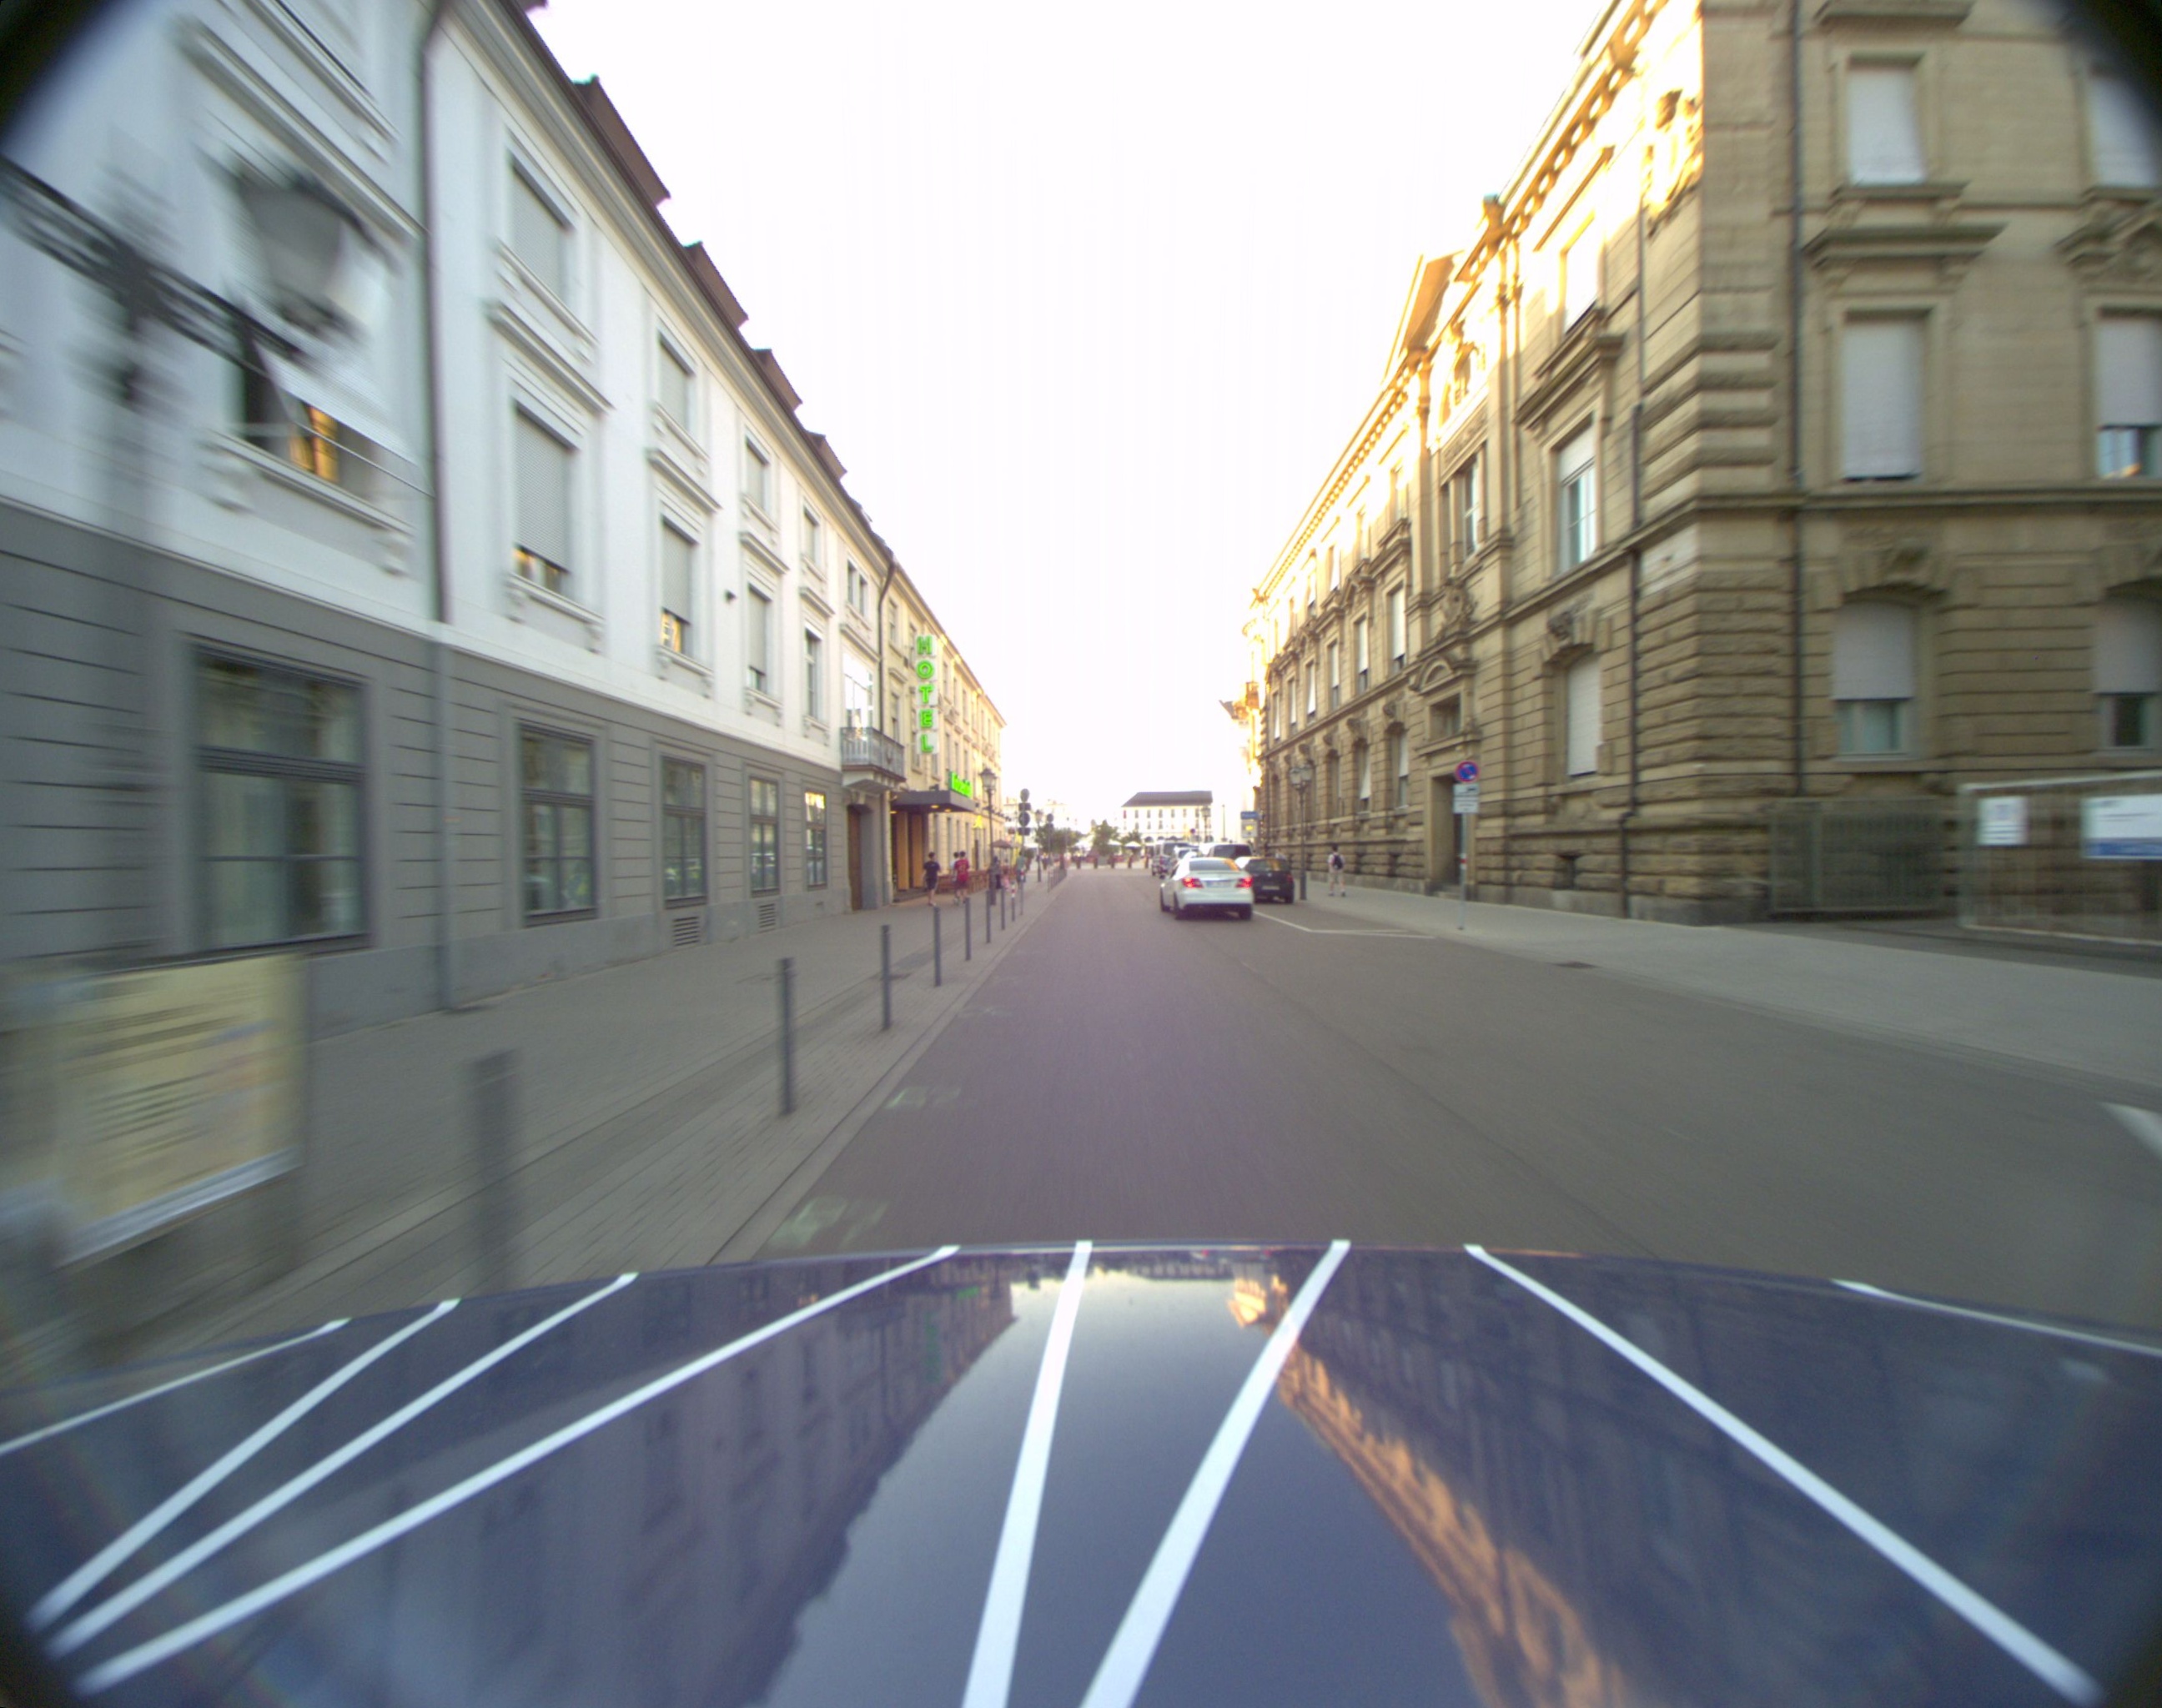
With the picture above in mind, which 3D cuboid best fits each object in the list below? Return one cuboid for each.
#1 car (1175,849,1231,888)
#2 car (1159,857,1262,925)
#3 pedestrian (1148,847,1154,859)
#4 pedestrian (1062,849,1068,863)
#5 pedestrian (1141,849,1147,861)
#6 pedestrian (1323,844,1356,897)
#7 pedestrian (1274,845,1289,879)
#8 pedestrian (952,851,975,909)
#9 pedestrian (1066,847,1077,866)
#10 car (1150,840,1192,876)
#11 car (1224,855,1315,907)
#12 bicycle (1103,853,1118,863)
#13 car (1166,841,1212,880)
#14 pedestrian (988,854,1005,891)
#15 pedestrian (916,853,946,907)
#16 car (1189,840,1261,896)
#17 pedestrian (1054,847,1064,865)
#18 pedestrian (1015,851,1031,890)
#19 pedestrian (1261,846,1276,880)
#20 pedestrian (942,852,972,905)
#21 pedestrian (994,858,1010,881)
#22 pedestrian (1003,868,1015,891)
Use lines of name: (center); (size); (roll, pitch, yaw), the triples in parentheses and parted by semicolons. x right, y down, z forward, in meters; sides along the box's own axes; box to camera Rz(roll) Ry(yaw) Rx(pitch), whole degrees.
car: (5.916, 0.662, 37.338); (1.998, 1.742, 4.989); (-1, 1, 1)
car: (2.992, 0.795, 18.304); (1.789, 1.400, 4.088); (-1, 0, 0)
pedestrian: (10.146, -0.096, 110.582); (0.856, 1.720, 0.881); (-1, 1, 4)
pedestrian: (-1.812, 0.236, 88.346); (0.683, 1.557, 0.653); (-1, 1, -1)
pedestrian: (9.204, 0.089, 110.993); (0.856, 1.720, 0.881); (-1, 1, 4)
pedestrian: (8.730, 0.537, 25.675); (0.715, 1.720, 0.896); (-4, 1, 2)
pedestrian: (10.467, 0.411, 39.749); (0.608, 1.720, 0.703); (-1, 1, 2)
pedestrian: (-3.734, 0.807, 24.166); (0.622, 1.779, 0.912); (-1, 1, -12)
pedestrian: (-0.891, 0.237, 72.717); (0.667, 1.720, 0.767); (0, 1, 44)
car: (5.829, 0.245, 49.900); (1.999, 2.158, 5.206); (-1, 0, -2)
car: (5.950, 0.798, 24.524); (1.998, 1.486, 4.164); (-1, 1, 1)
bicycle: (3.606, 0.498, 92.464); (1.683, 1.115, 0.846); (-1, 1, 35)
car: (6.032, 0.318, 42.943); (1.998, 2.075, 5.207); (-1, 1, 1)
pedestrian: (-3.742, 0.803, 33.578); (0.631, 1.591, 0.615); (-1, 1, 2)
pedestrian: (-4.915, 0.845, 24.905); (0.715, 1.720, 0.873); (-1, 1, 3)
car: (5.777, 0.470, 31.064); (1.998, 2.066, 4.989); (-1, 1, 0)
pedestrian: (-2.112, 0.178, 72.439); (0.607, 1.720, 0.719); (0, 1, 44)
pedestrian: (-2.578, 0.728, 33.835); (0.608, 1.720, 0.558); (-1, 1, 2)
pedestrian: (9.774, 0.474, 39.531); (0.583, 1.720, 0.831); (-1, 1, 2)
pedestrian: (-4.120, 0.817, 25.278); (0.749, 1.720, 0.881); (-1, 1, 4)
pedestrian: (-4.792, 0.944, 46.088); (0.777, 1.351, 0.723); (-1, 1, -15)
pedestrian: (-3.164, 1.123, 33.389); (0.461, 0.974, 0.558); (-1, 1, 2)
